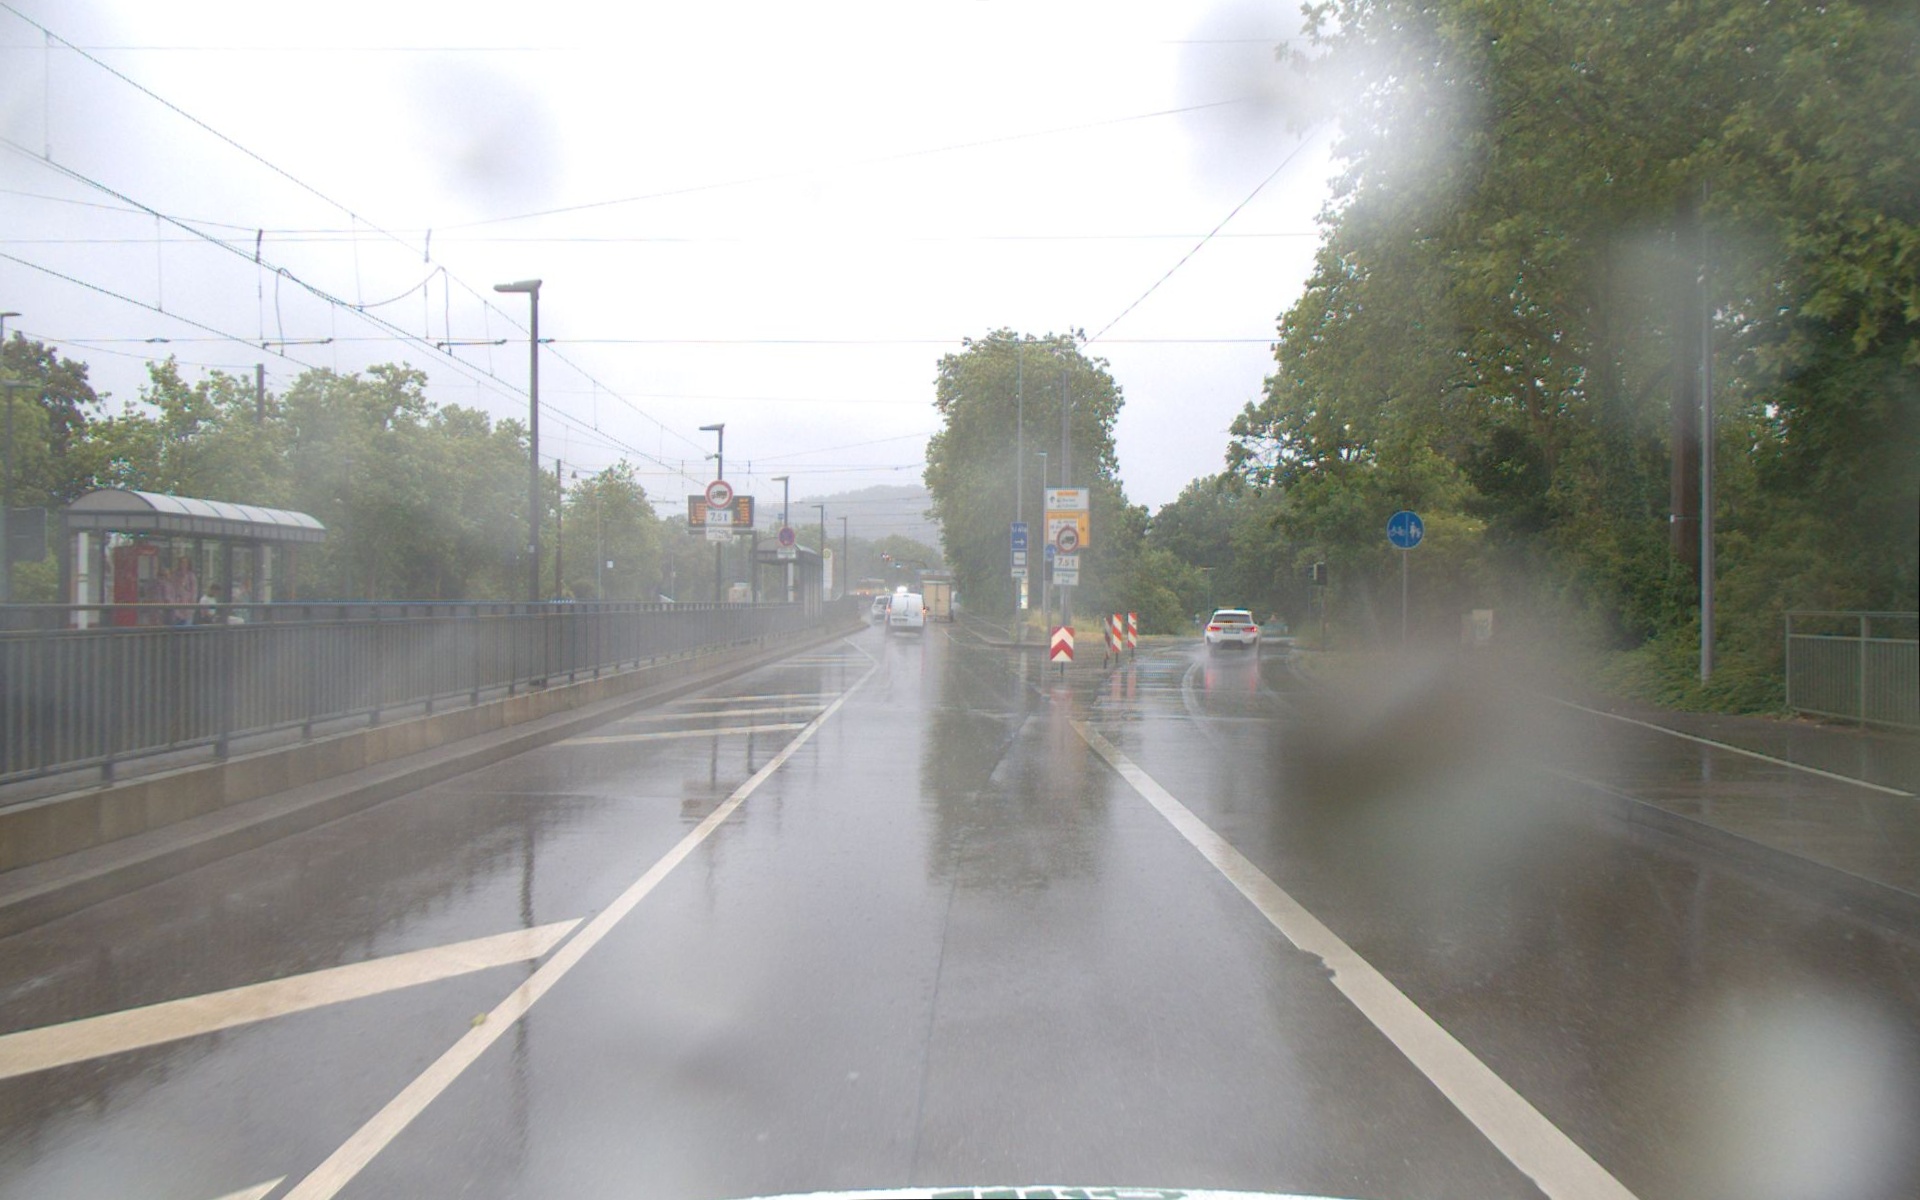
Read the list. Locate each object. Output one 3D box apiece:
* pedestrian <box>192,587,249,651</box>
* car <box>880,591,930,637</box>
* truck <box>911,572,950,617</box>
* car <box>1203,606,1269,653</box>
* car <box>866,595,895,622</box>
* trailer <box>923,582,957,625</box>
[{"bbox_3d":[-16.066,0.403,35.957,0.814,1.339,0.858,2,0,-1],"label":"pedestrian"},{"bbox_3d":[-2.378,0.582,70.472,1.954,1.881,3.996,1,0,-5],"label":"car"},{"bbox_3d":[-2.586,-0.394,143.564,2.721,3.769,9.842,1,-1,-5],"label":"truck"},{"bbox_3d":[9.100,0.951,54.365,1.848,1.456,4.003,1,0,13],"label":"car"},{"bbox_3d":[-5.066,0.537,105.722,1.750,1.671,3.966,1,-1,-2],"label":"car"},{"bbox_3d":[-1.308,0.265,112.430,2.121,2.806,5.677,1,-1,1],"label":"trailer"}]
